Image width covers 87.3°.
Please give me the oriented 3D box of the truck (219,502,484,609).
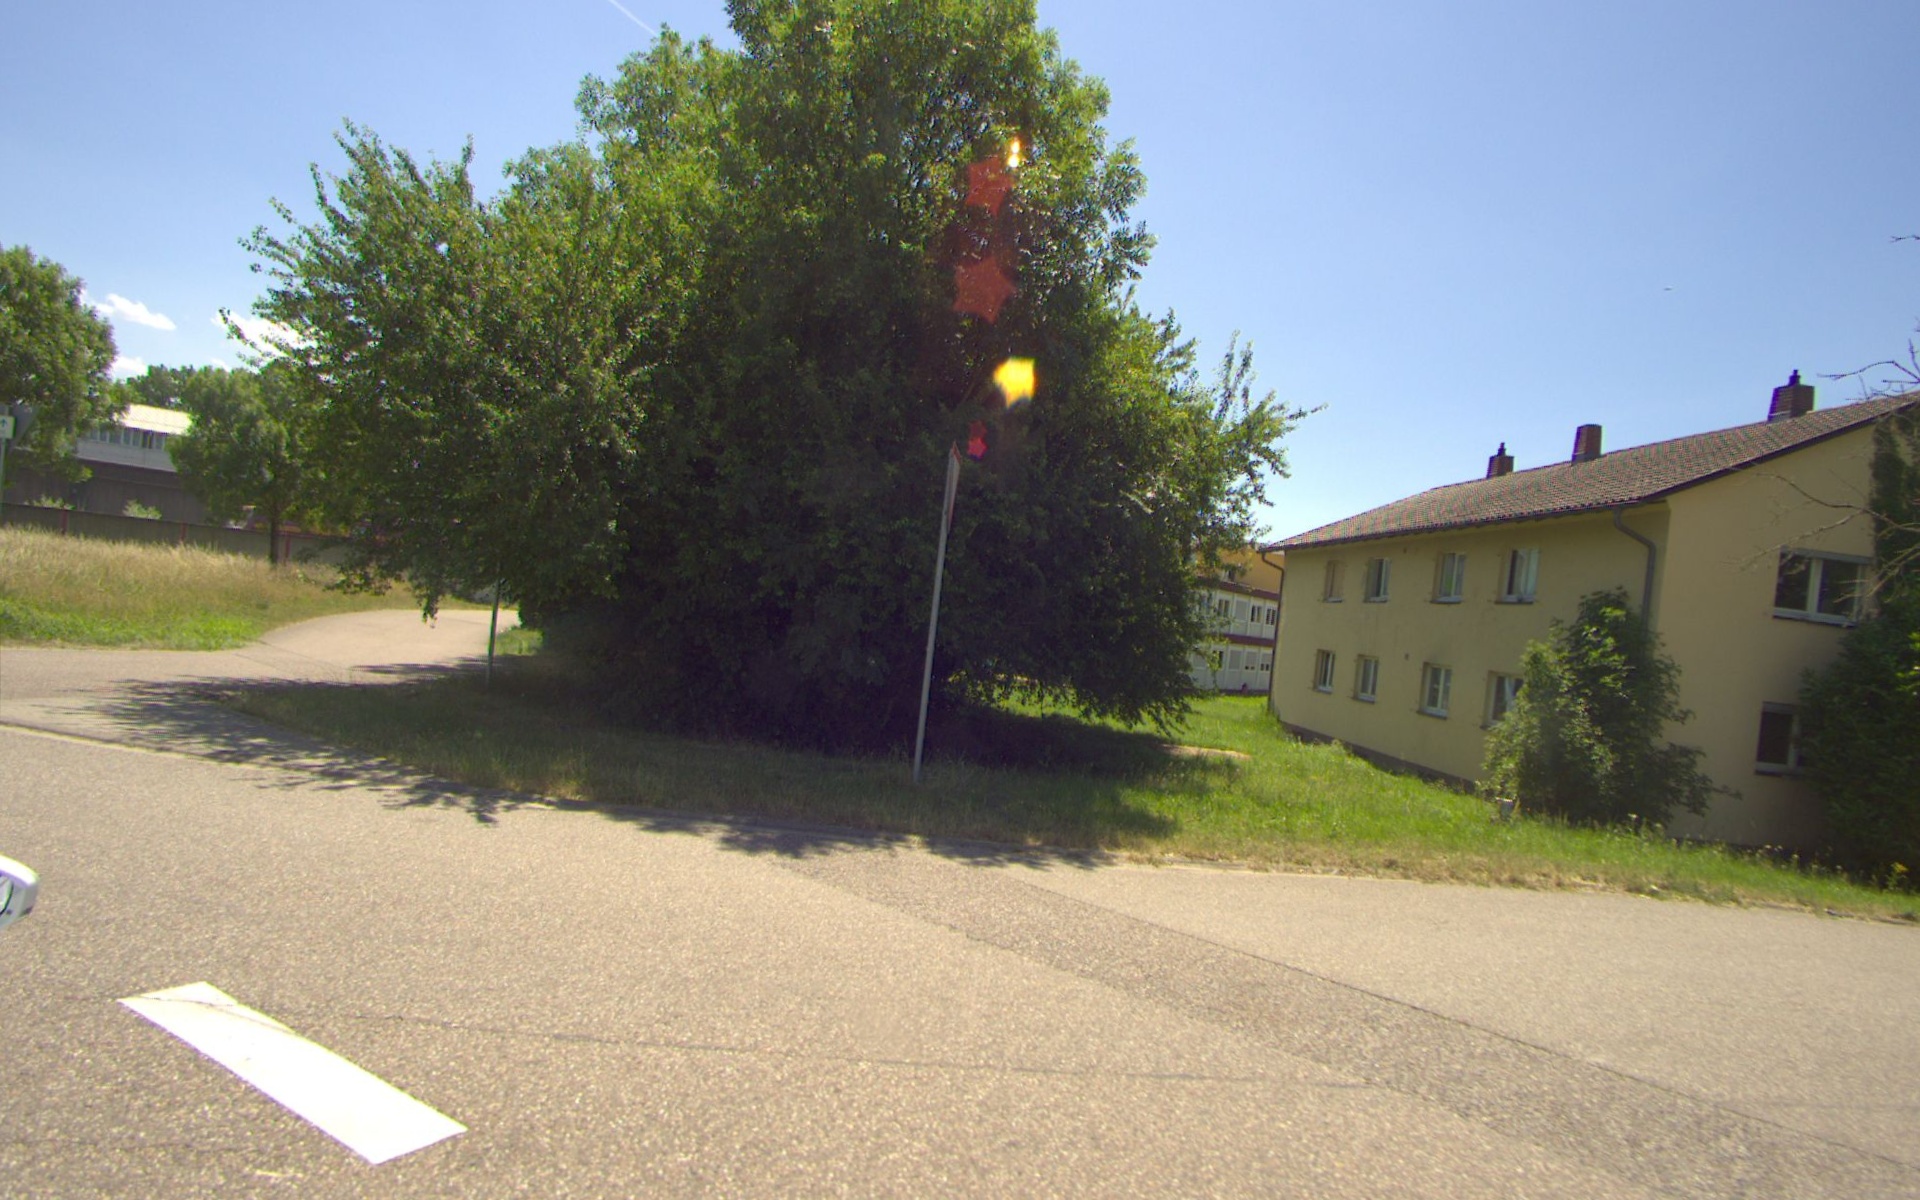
[{"bbox_3d":[-32.535,-2.224,54.605,2.962,4.229,11.767,5,-2,38],"label":"truck"}]
